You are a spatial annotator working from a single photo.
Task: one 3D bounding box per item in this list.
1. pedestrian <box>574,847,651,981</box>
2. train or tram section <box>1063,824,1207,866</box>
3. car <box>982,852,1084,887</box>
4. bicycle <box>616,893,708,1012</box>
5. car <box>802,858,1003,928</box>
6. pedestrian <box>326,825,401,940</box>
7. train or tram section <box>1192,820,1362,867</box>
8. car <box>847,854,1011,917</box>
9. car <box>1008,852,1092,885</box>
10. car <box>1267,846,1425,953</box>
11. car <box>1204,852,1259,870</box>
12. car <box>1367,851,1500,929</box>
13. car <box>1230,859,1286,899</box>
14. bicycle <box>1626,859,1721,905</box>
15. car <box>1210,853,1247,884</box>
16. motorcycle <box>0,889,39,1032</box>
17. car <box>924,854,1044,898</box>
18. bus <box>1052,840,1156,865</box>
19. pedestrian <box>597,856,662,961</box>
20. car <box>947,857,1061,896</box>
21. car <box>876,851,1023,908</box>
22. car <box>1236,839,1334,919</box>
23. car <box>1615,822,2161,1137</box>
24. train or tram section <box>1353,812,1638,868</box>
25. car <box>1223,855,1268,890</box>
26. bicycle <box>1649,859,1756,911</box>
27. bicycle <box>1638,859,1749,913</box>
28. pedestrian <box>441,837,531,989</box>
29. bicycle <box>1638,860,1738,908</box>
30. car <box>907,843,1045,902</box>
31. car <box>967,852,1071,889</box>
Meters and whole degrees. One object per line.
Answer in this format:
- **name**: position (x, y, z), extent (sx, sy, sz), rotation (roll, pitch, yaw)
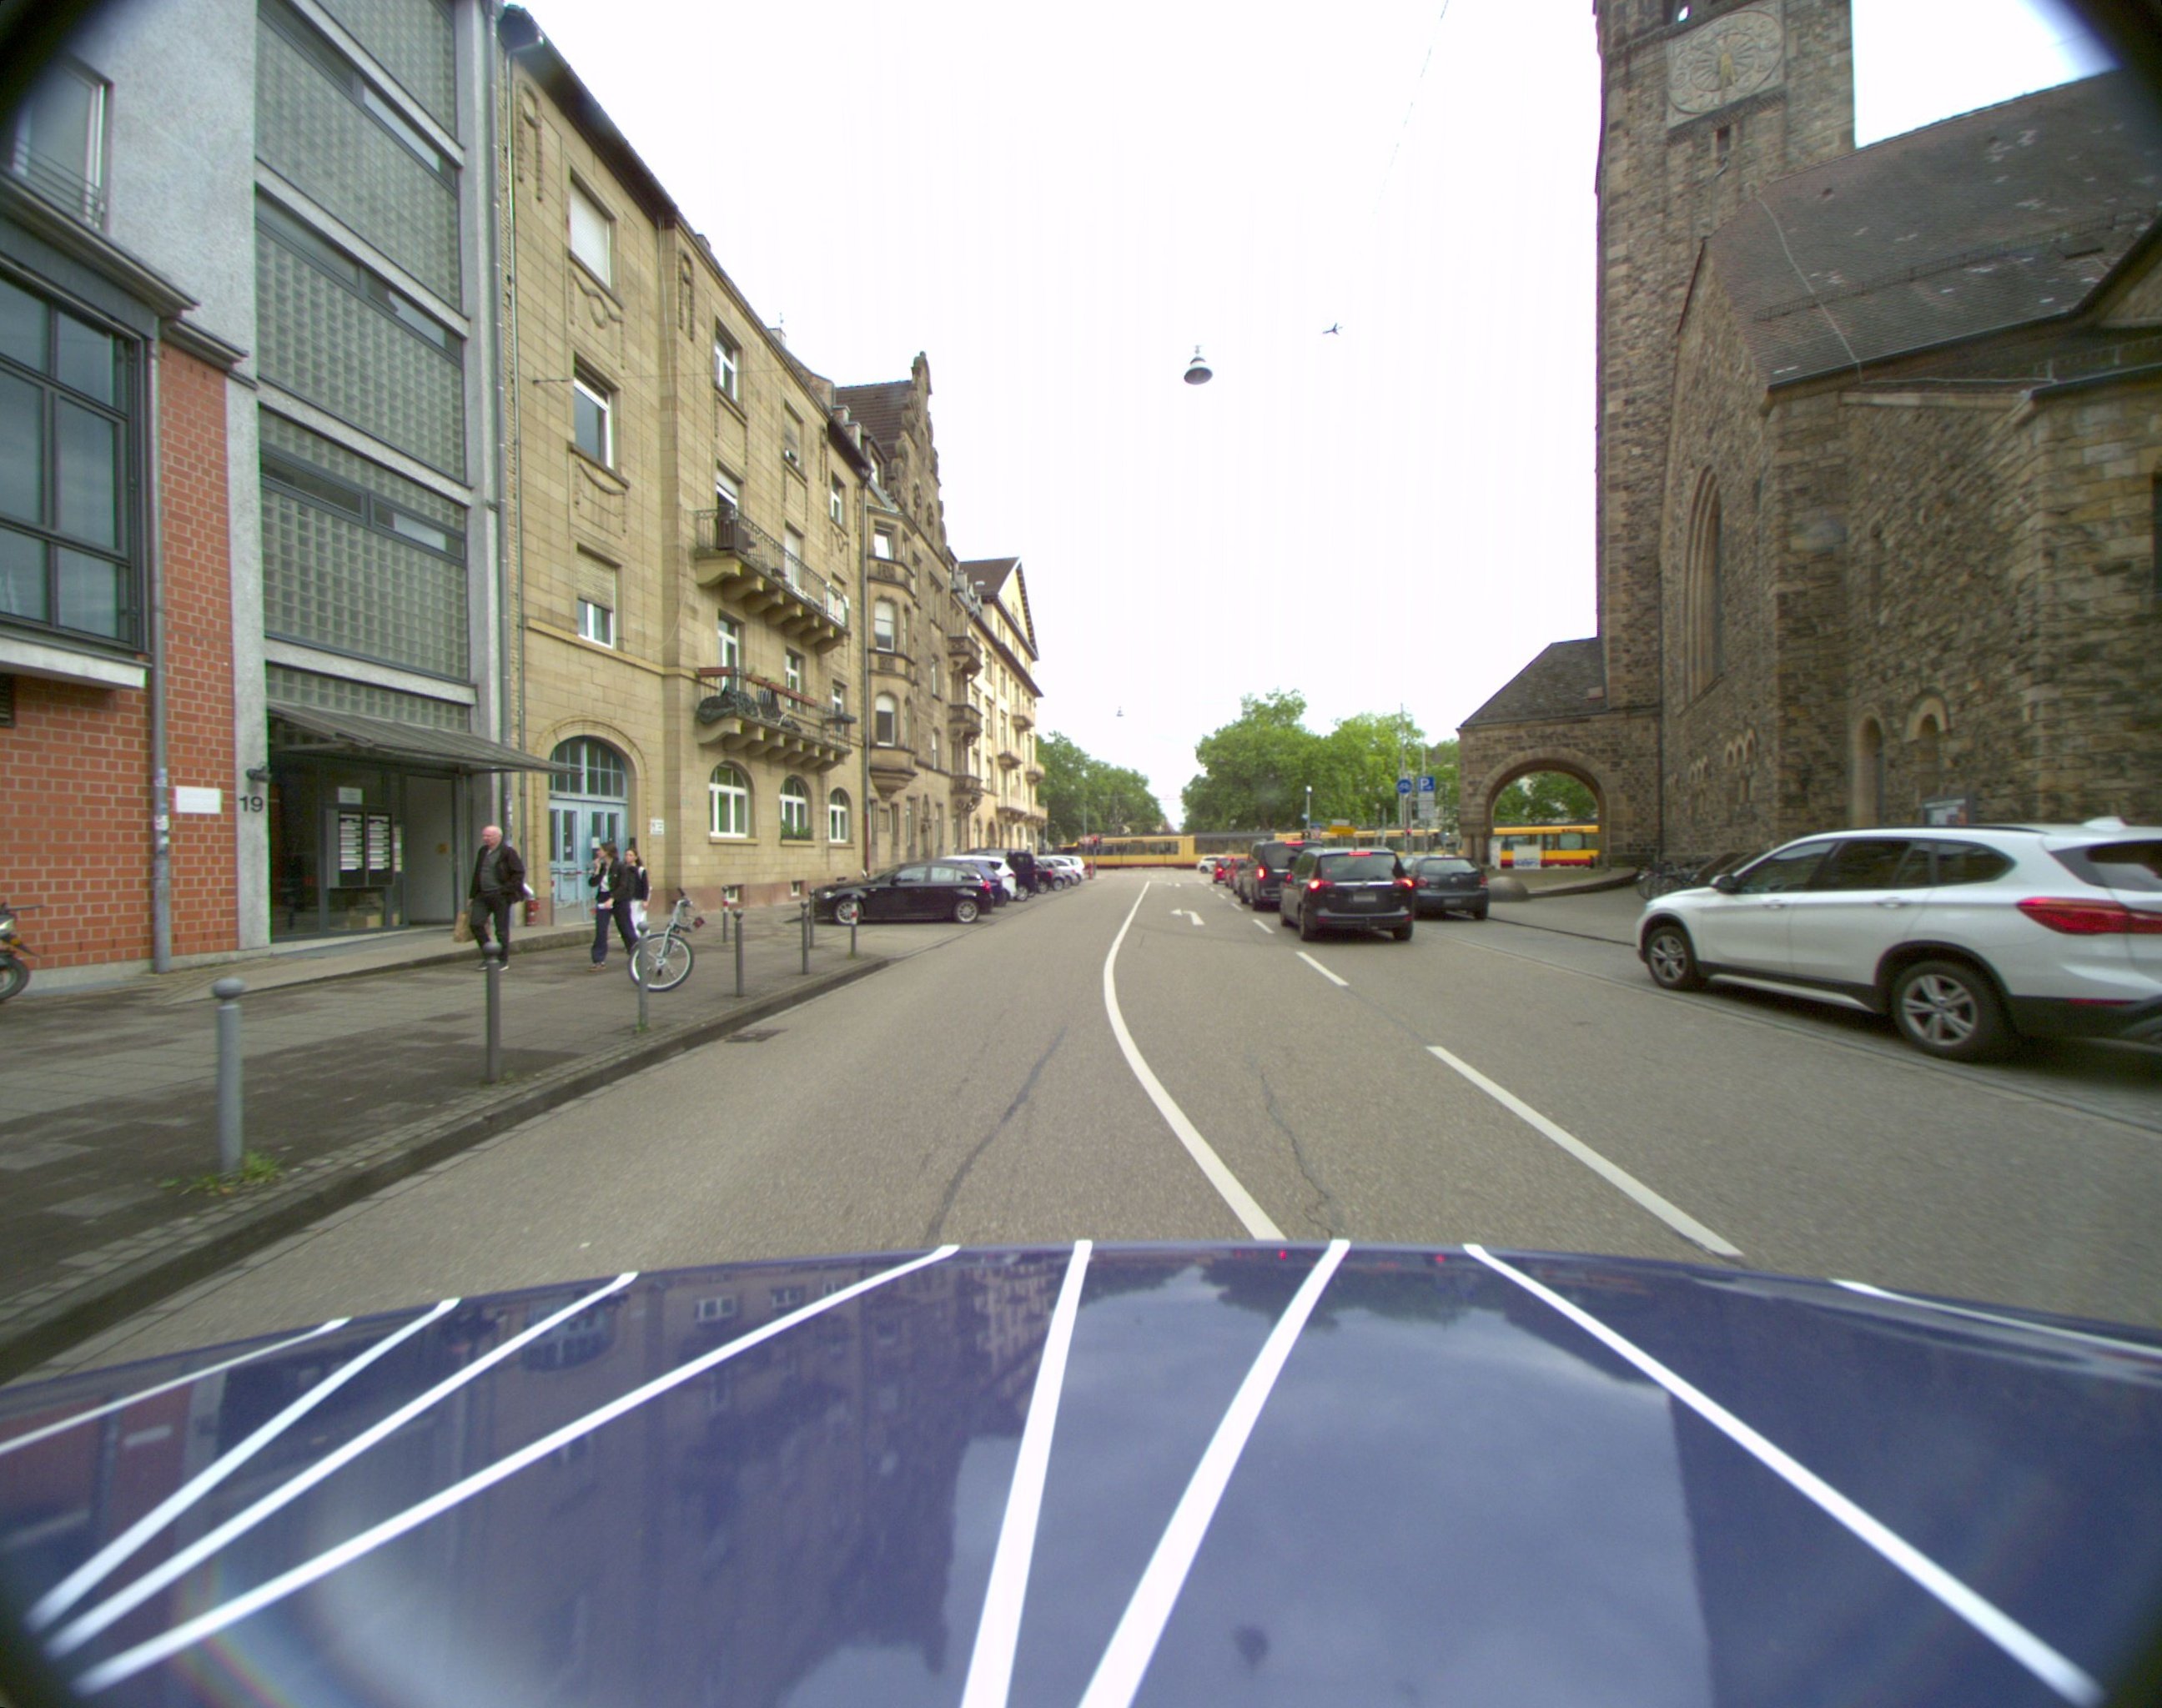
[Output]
- **pedestrian**: position (-6.031, 0.747, 9.812), extent (0.519, 1.653, 0.717), rotation (1, 2, 3)
- **train or tram section**: position (5.442, -0.891, 79.320), extent (14.996, 4.070, 3.661), rotation (0, 2, 32)
- **car**: position (-2.399, 0.802, 38.617), extent (4.760, 1.675, 1.932), rotation (1, 1, -30)
- **bicycle**: position (-4.794, 1.046, 8.629), extent (0.731, 1.098, 1.732), rotation (1, 1, -35)
- **car**: position (-4.154, 0.925, 17.826), extent (4.267, 1.469, 1.681), rotation (3, -1, -26)
- **pedestrian**: position (-11.121, 0.432, 11.787), extent (0.541, 1.734, 0.568), rotation (-1, 2, 6)
- **train or tram section**: position (18.121, -0.945, 71.257), extent (14.996, 4.070, 3.588), rotation (0, 2, 32)
- **car**: position (-4.129, 0.861, 20.629), extent (4.005, 1.524, 1.928), rotation (3, -1, -23)
- **car**: position (-1.710, 0.799, 41.943), extent (4.231, 1.673, 1.911), rotation (1, 1, -28)
- **car**: position (4.737, 0.729, 14.290), extent (1.848, 1.674, 4.551), rotation (-1, 0, 7)
- **car**: position (12.177, 0.536, 61.576), extent (3.989, 1.387, 1.884), rotation (-1, 0, 32)
- **car**: position (8.020, 0.748, 17.645), extent (1.649, 1.500, 3.773), rotation (-2, 1, 7)
- **car**: position (6.616, 0.887, 28.689), extent (1.707, 1.279, 4.044), rotation (1, 1, 8)
- **bicycle**: position (14.852, 0.691, 19.084), extent (1.781, 1.118, 0.568), rotation (-1, 1, 19)
- **car**: position (7.968, 0.772, 41.392), extent (1.652, 1.519, 3.896), rotation (1, 0, 7)
- **motorcycle**: position (-9.680, 0.887, 6.031), extent (0.601, 1.186, 1.570), rotation (1, -1, 29)
- **car**: position (-3.731, 0.855, 29.472), extent (4.079, 1.445, 2.026), rotation (3, 0, -32)
- **bus**: position (2.642, -0.127, 91.181), extent (12.345, 2.840, 3.298), rotation (0, 2, 32)
- **pedestrian**: position (-6.729, 0.789, 11.360), extent (0.519, 1.502, 0.717), rotation (1, 2, 3)
- **car**: position (-3.275, 0.927, 32.480), extent (4.473, 1.543, 1.847), rotation (1, 0, -32)
- **car**: position (-4.004, 0.788, 23.349), extent (4.008, 1.592, 1.761), rotation (3, -1, -33)
- **car**: position (5.591, 0.629, 21.476), extent (1.916, 1.943, 5.286), rotation (-1, 0, 7)
- **car**: position (6.658, 0.668, 6.180), extent (1.847, 1.678, 4.434), rotation (-1, 0, 6)
- **train or tram section**: position (32.911, -1.008, 61.915), extent (19.892, 4.070, 3.634), rotation (0, 2, 32)
- **car**: position (7.587, 0.829, 35.311), extent (1.605, 1.448, 3.719), rotation (1, 1, 6)
- **bicycle**: position (14.347, 0.707, 17.592), extent (1.780, 1.159, 0.742), rotation (-1, 1, 19)
- **bicycle**: position (13.552, 0.704, 16.870), extent (1.780, 1.145, 0.742), rotation (-1, 1, 19)
- **pedestrian**: position (-7.161, 0.687, 9.161), extent (0.644, 1.761, 0.541), rotation (1, 2, 5)
- **bicycle**: position (14.622, 0.711, 18.354), extent (1.780, 1.124, 0.662), rotation (-1, 1, 19)
- **car**: position (-3.608, 0.673, 26.397), extent (4.291, 1.895, 1.875), rotation (3, -1, -35)
- **car**: position (-2.872, 0.782, 35.423), extent (4.474, 1.564, 1.743), rotation (2, -1, -32)
